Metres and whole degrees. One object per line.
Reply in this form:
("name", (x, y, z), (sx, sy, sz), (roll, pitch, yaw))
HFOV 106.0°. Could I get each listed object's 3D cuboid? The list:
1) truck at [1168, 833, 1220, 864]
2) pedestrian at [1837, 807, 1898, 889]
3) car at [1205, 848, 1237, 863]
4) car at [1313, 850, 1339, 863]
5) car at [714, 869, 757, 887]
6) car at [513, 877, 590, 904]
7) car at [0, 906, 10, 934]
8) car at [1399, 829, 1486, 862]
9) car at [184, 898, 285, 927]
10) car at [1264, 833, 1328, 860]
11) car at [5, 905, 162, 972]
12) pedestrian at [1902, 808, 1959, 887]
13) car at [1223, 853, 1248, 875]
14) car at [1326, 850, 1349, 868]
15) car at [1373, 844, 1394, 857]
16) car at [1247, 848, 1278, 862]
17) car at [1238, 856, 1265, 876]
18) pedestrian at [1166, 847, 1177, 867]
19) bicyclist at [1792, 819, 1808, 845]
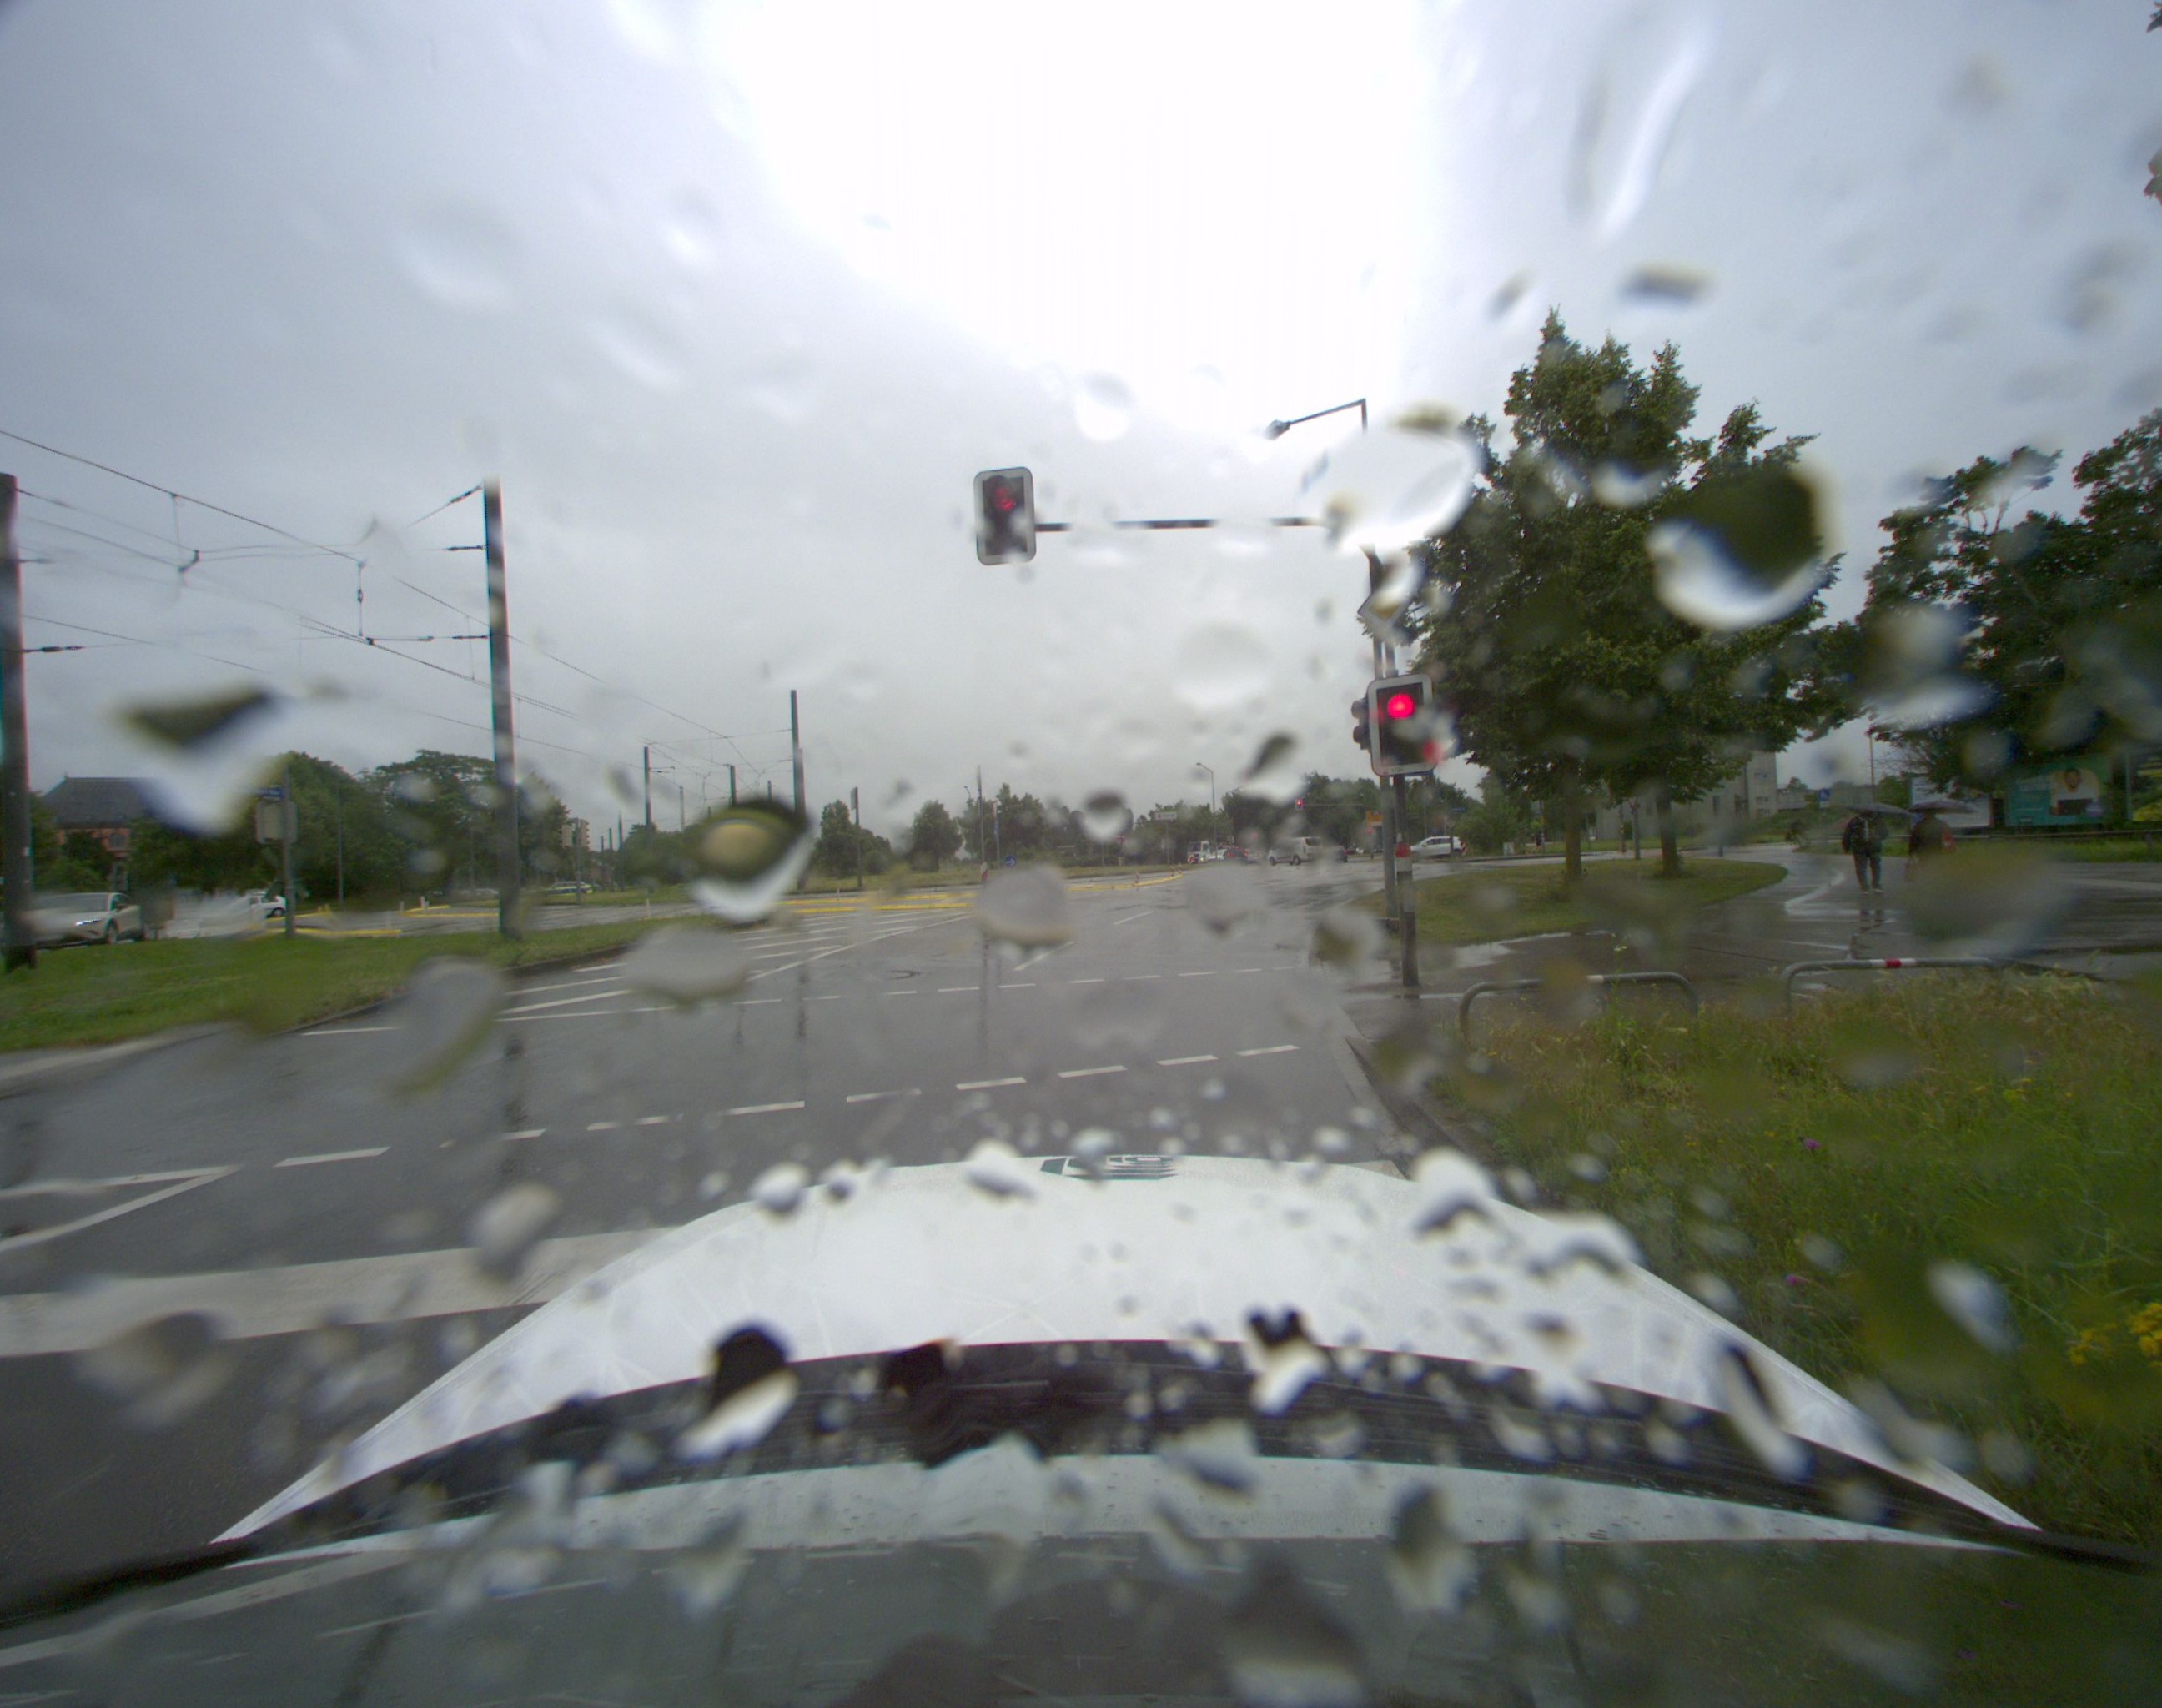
("truck", (10.361, -0.411, 74.046), (2.439, 2.686, 8.105), (-1, -1, 25))
("pedestrian", (14.993, -0.107, 15.529), (0.625, 1.522, 0.733), (0, -1, -36))
("car", (16.506, 0.162, 96.018), (1.779, 1.662, 4.159), (-1, -1, 43))
("car", (33.699, 0.351, 112.081), (1.779, 1.662, 4.024), (-1, -1, 43))
("car", (-36.738, 2.504, 86.675), (1.660, 1.816, 4.025), (-1, -1, 31))
("car", (-42.852, 2.927, 66.021), (1.974, 1.851, 4.806), (-3, 0, 39))
("car", (-58.228, 3.542, 41.703), (1.602, 1.454, 4.013), (-3, 0, 35))
("car", (23.130, -0.520, 52.295), (4.728, 1.851, 2.007), (-3, 0, 12))
("car", (-51.830, 3.533, 49.945), (1.602, 1.454, 4.013), (-3, 0, 33))
("car", (15.874, -0.497, 60.509), (2.004, 1.851, 4.735), (0, -1, -26))
("car", (-27.315, 2.232, 22.470), (1.630, 1.454, 4.069), (-2, 0, -34))
("pedestrian", (16.301, -0.130, 15.623), (0.685, 1.461, 0.567), (-3, -2, -34))
("car", (13.562, 0.887, 71.248), (1.980, 1.851, 4.791), (-1, -1, 12))
("car", (22.229, 0.445, 70.686), (1.606, 1.454, 4.003), (-2, 0, 14))
("car", (49.723, -0.586, 133.939), (1.974, 2.014, 4.025), (-1, -1, 39))
("car", (21.764, 0.161, 97.446), (1.779, 1.662, 4.024), (-1, -1, 43))
("car", (16.150, 1.132, 76.927), (1.978, 1.851, 4.797), (-1, -1, 17))
("pedestrian", (6.052, 0.223, 54.328), (0.448, 1.304, 0.489), (-3, -1, 40))
("bicyclist", (48.907, -1.496, 55.395), (0.585, 1.742, 0.498), (-1, -1, 13))
